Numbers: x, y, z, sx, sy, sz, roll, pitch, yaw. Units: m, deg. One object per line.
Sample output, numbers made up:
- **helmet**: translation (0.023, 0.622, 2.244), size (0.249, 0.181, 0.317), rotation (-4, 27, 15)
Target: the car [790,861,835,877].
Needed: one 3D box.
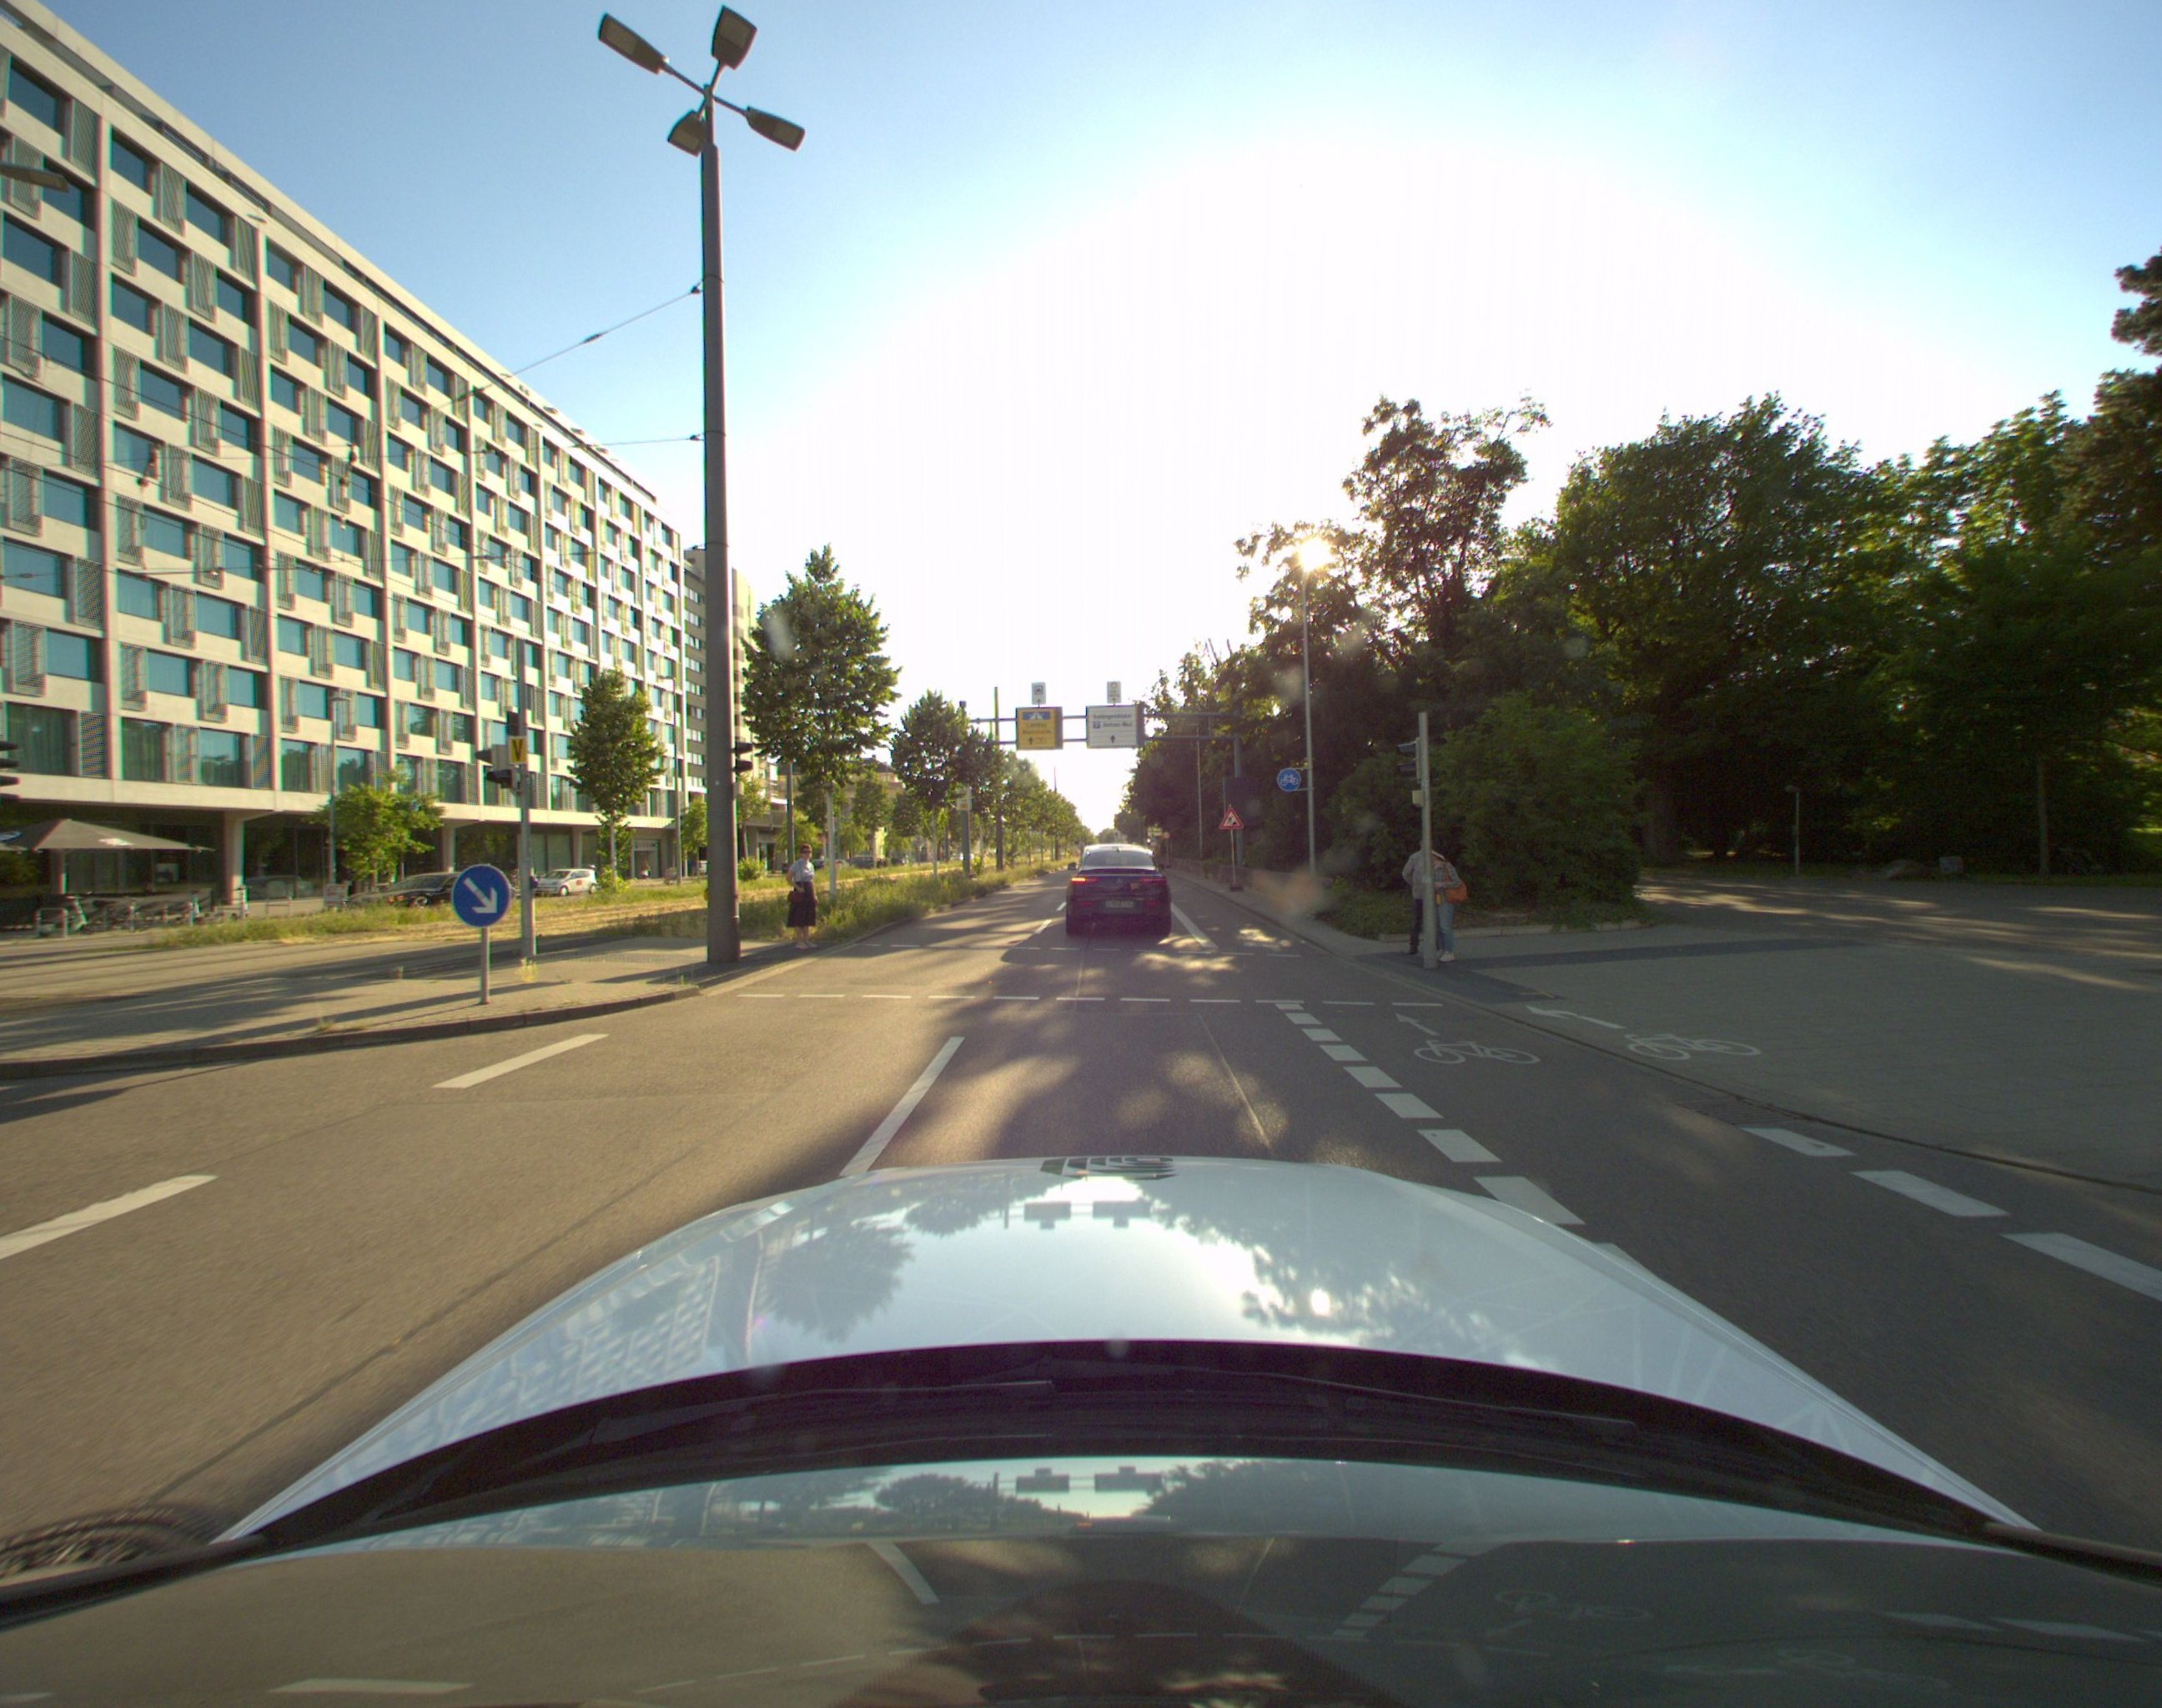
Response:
- **car**: translation (-27.936, 1.574, 84.877), size (4.116, 1.601, 1.730), rotation (1, 0, -39)

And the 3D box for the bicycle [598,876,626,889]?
- **bicycle**: translation (-35.580, 2.187, 61.783), size (1.799, 0.905, 0.512), rotation (-2, 0, -1)

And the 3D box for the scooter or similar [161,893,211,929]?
- **scooter or similar**: translation (-30.214, 1.923, 27.486), size (1.238, 1.172, 0.406), rotation (-2, 0, 3)

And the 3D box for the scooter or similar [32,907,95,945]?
- **scooter or similar**: translation (-30.086, 2.124, 24.077), size (1.238, 1.019, 0.511), rotation (-2, 0, 3)

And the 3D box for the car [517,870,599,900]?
- **car**: translation (-29.145, 1.696, 45.553), size (1.877, 1.492, 3.877), rotation (-1, 0, 4)

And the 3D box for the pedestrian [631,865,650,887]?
- **pedestrian**: translation (-34.017, 1.667, 62.926), size (0.840, 1.653, 0.971), rotation (-1, 0, 4)

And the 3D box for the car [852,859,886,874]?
- **car**: translation (-26.580, 1.530, 102.115), size (3.777, 1.829, 1.804), rotation (0, 0, -38)

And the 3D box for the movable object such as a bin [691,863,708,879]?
- **movable object such as a bin**: translation (-35.126, 1.561, 74.991), size (0.797, 1.440, 1.404), rotation (-2, 0, 2)

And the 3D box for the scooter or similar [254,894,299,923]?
- **scooter or similar**: translation (-29.779, 2.021, 30.145), size (1.238, 1.019, 0.435), rotation (-2, 0, 3)

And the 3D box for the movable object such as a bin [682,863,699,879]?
- **movable object such as a bin**: translation (-35.994, 1.564, 75.017), size (0.797, 1.440, 1.404), rotation (-2, 0, 2)

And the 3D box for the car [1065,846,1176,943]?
- **car**: translation (0.705, 0.717, 16.695), size (1.987, 1.734, 3.999), rotation (-1, 0, 0)

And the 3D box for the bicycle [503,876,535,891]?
- **bicycle**: translation (-36.369, 1.893, 52.701), size (1.745, 0.966, 0.483), rotation (0, 0, 1)

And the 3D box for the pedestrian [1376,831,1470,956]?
- **pedestrian**: translation (5.240, 0.582, 12.499), size (0.862, 1.802, 0.898), rotation (-3, 0, -32)

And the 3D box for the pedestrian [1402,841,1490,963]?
- **pedestrian**: translation (5.184, 0.655, 11.604), size (0.765, 1.636, 0.768), rotation (-3, 0, -7)

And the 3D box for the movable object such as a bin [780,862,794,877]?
- **movable object such as a bin**: translation (-28.670, 1.519, 79.352), size (0.851, 1.357, 0.944), rotation (-2, 0, 16)

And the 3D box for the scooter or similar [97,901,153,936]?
- **scooter or similar**: translation (-30.049, 2.033, 25.604), size (1.238, 1.019, 0.435), rotation (-2, 0, 3)

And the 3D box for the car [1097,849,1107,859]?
- **car**: translation (3.698, 0.012, 143.019), size (1.879, 1.580, 4.002), rotation (-1, 1, 1)

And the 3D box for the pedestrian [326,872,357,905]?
- **pedestrian**: translation (-38.502, 1.798, 42.411), size (0.967, 1.670, 1.065), rotation (-2, 0, 42)

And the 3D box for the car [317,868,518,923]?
- **car**: translation (-19.460, 1.157, 24.246), size (1.884, 1.343, 4.852), rotation (-1, 0, 2)

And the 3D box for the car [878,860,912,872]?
- **car**: translation (-25.607, 1.584, 112.159), size (4.020, 1.563, 1.977), rotation (0, 0, -40)

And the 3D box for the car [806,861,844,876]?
- **car**: translation (-27.825, 1.588, 88.467), size (3.643, 1.523, 1.602), rotation (1, -1, -39)

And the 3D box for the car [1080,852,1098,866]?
- **car**: translation (0.939, 0.566, 92.833), size (1.879, 1.580, 4.002), rotation (-1, 1, 1)

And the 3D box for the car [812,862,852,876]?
- **car**: translation (-27.891, 1.650, 91.325), size (1.764, 1.453, 4.024), rotation (0, 0, 44)

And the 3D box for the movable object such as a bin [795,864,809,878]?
- **movable object such as a bin**: translation (-27.271, 1.664, 79.633), size (0.851, 1.280, 0.944), rotation (-2, 0, 16)

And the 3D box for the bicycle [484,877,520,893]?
- **bicycle**: translation (-36.142, 1.936, 50.846), size (1.801, 0.905, 0.511), rotation (-2, 0, -5)

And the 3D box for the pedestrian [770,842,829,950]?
- **pedestrian**: translation (-4.564, 0.664, 13.243), size (0.595, 1.699, 0.715), rotation (-2, 0, 7)
